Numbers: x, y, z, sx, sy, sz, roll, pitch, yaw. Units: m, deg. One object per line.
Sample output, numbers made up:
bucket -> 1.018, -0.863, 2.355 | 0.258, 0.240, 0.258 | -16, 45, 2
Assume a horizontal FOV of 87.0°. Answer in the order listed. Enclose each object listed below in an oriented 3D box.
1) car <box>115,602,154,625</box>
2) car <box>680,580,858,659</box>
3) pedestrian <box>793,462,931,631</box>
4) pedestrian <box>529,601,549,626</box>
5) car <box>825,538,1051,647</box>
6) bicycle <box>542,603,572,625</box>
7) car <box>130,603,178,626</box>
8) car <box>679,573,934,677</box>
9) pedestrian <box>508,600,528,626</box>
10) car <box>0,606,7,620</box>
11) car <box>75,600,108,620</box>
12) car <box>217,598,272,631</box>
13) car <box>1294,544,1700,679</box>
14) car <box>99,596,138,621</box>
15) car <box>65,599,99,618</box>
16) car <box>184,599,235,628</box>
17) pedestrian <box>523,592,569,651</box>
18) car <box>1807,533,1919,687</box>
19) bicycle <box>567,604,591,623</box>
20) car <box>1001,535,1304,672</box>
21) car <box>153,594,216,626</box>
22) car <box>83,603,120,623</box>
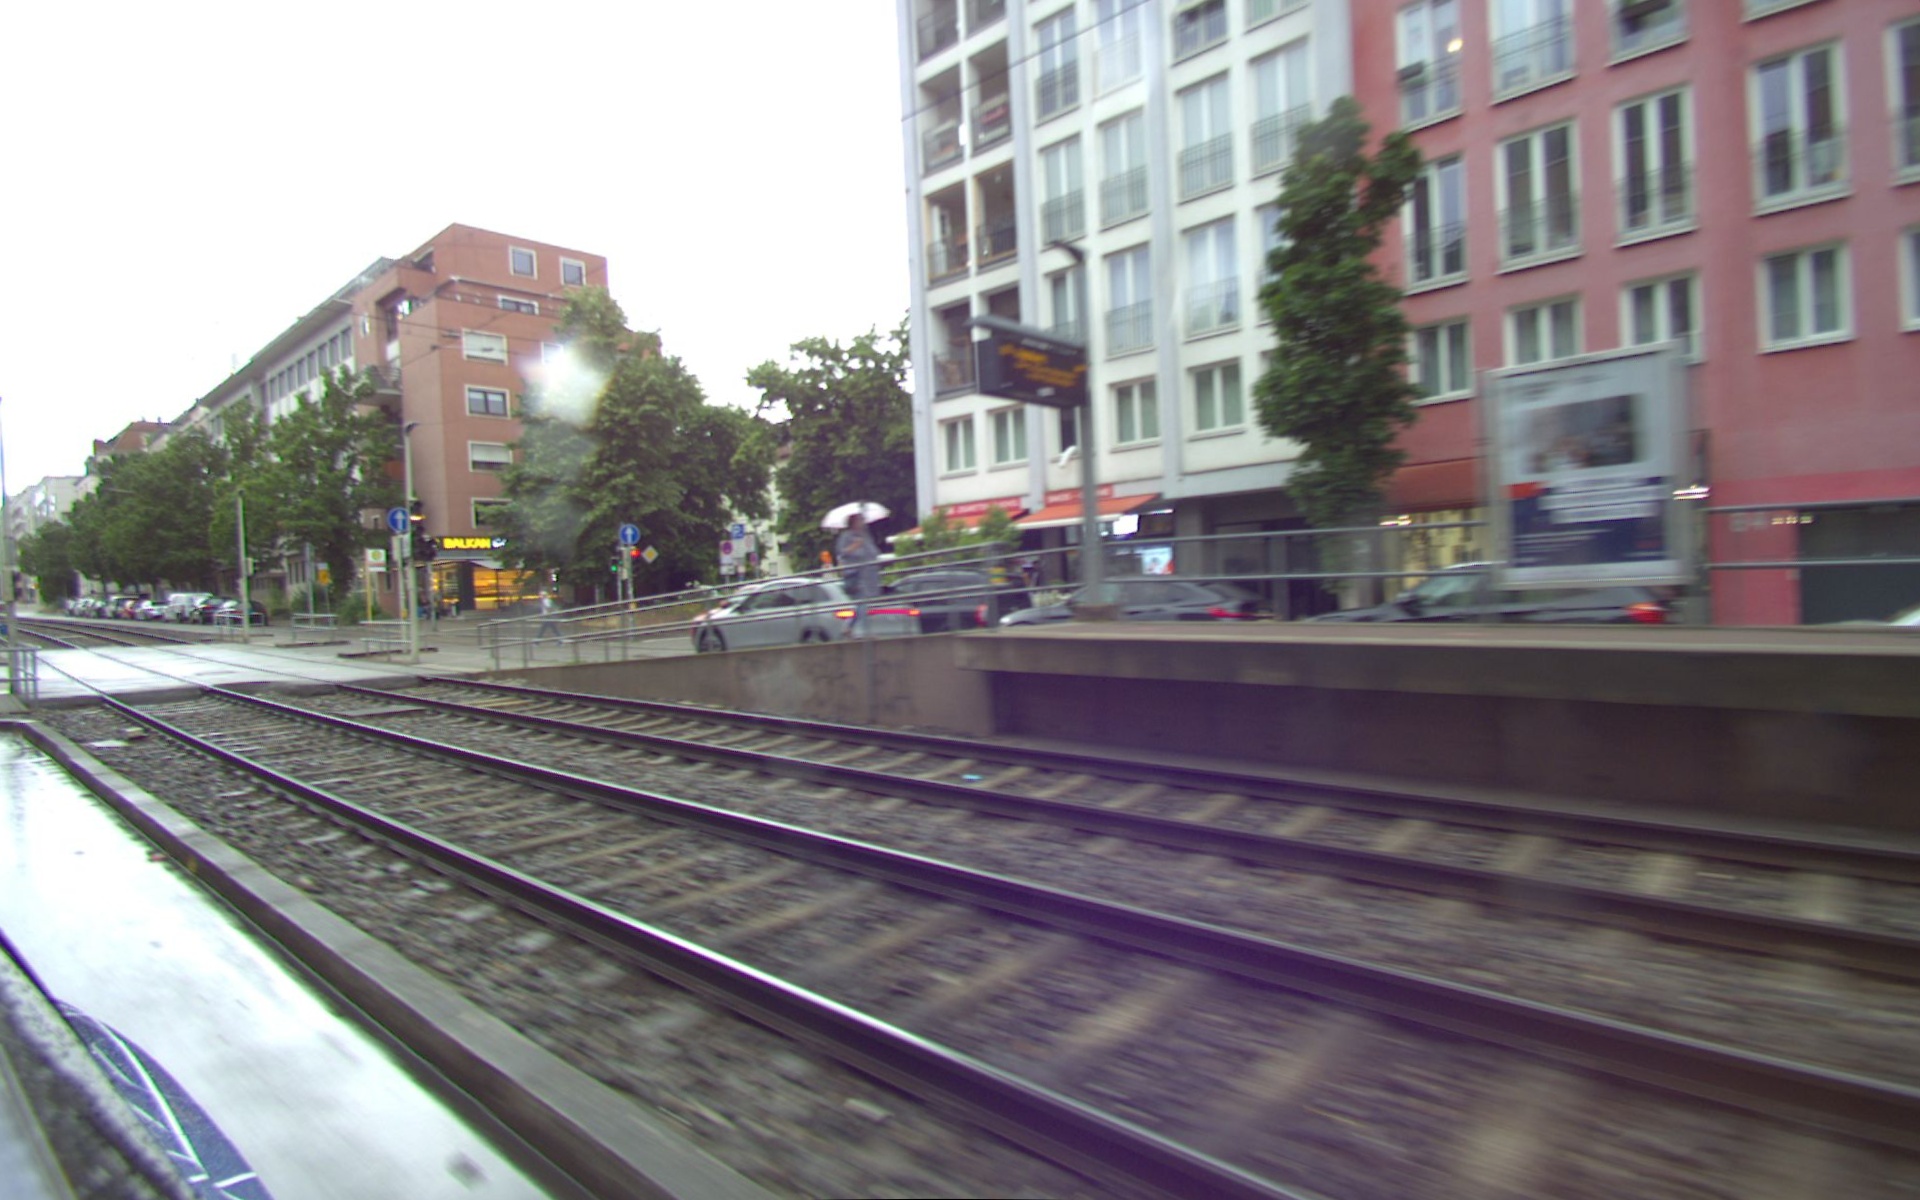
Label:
car -> -61.313, 0.961, 75.140 | 3.802, 1.550, 1.621 | 1, 2, 42
car -> -4.511, 0.423, 23.456 | 4.554, 1.624, 1.707 | -1, 1, 44
pedestrian -> -1.265, -0.662, 13.023 | 1.383, 2.028, 1.104 | 1, 2, 42
pedestrian -> -20.898, 0.665, 50.255 | 0.601, 1.186, 0.676 | -1, 1, 10
car -> -0.506, -0.148, 19.514 | 4.318, 1.872, 1.690 | 0, 2, 40
bicycle -> -18.379, 0.616, 46.160 | 1.873, 0.966, 0.474 | 1, 2, 43
car -> -55.477, 0.972, 69.626 | 4.527, 1.473, 1.675 | 0, 2, 40
car -> -2.889, 0.373, 18.167 | 5.021, 1.590, 1.787 | 0, 2, 43
pedestrian -> -21.305, 0.624, 48.792 | 0.668, 1.186, 0.609 | -2, 2, -42
car -> -113.598, 1.558, 119.041 | 4.527, 1.473, 1.675 | 0, 2, 40
car -> -73.883, 0.809, 86.072 | 4.023, 1.549, 1.621 | 1, 3, 43
car -> -39.335, 0.750, 55.602 | 4.371, 1.636, 1.621 | 1, 3, 43
car -> 6.725, 0.104, 12.922 | 4.315, 1.447, 1.822 | 0, 2, 40
car -> -65.644, 0.612, 78.958 | 4.431, 1.830, 1.656 | 1, 2, 42
car -> -78.313, 0.739, 90.247 | 4.336, 1.596, 1.640 | 1, 2, 41
car -> -44.077, 0.784, 59.435 | 4.371, 1.548, 1.621 | 1, 3, 43
pedestrian -> -12.583, 0.637, 30.788 | 0.984, 1.709, 0.812 | 0, 3, 34
car -> 10.464, 0.067, 9.378 | 3.975, 1.447, 1.552 | 0, 2, 40
bicycle -> -17.657, 0.610, 46.900 | 1.646, 0.822, 0.335 | 1, 2, 43
car -> 2.925, 0.021, 15.949 | 4.377, 1.872, 1.784 | 0, 2, 40
car -> -48.677, 0.564, 63.477 | 5.252, 1.858, 1.889 | 0, 2, 39
car -> -69.965, 1.011, 82.439 | 4.728, 1.451, 1.621 | 1, 2, 42
